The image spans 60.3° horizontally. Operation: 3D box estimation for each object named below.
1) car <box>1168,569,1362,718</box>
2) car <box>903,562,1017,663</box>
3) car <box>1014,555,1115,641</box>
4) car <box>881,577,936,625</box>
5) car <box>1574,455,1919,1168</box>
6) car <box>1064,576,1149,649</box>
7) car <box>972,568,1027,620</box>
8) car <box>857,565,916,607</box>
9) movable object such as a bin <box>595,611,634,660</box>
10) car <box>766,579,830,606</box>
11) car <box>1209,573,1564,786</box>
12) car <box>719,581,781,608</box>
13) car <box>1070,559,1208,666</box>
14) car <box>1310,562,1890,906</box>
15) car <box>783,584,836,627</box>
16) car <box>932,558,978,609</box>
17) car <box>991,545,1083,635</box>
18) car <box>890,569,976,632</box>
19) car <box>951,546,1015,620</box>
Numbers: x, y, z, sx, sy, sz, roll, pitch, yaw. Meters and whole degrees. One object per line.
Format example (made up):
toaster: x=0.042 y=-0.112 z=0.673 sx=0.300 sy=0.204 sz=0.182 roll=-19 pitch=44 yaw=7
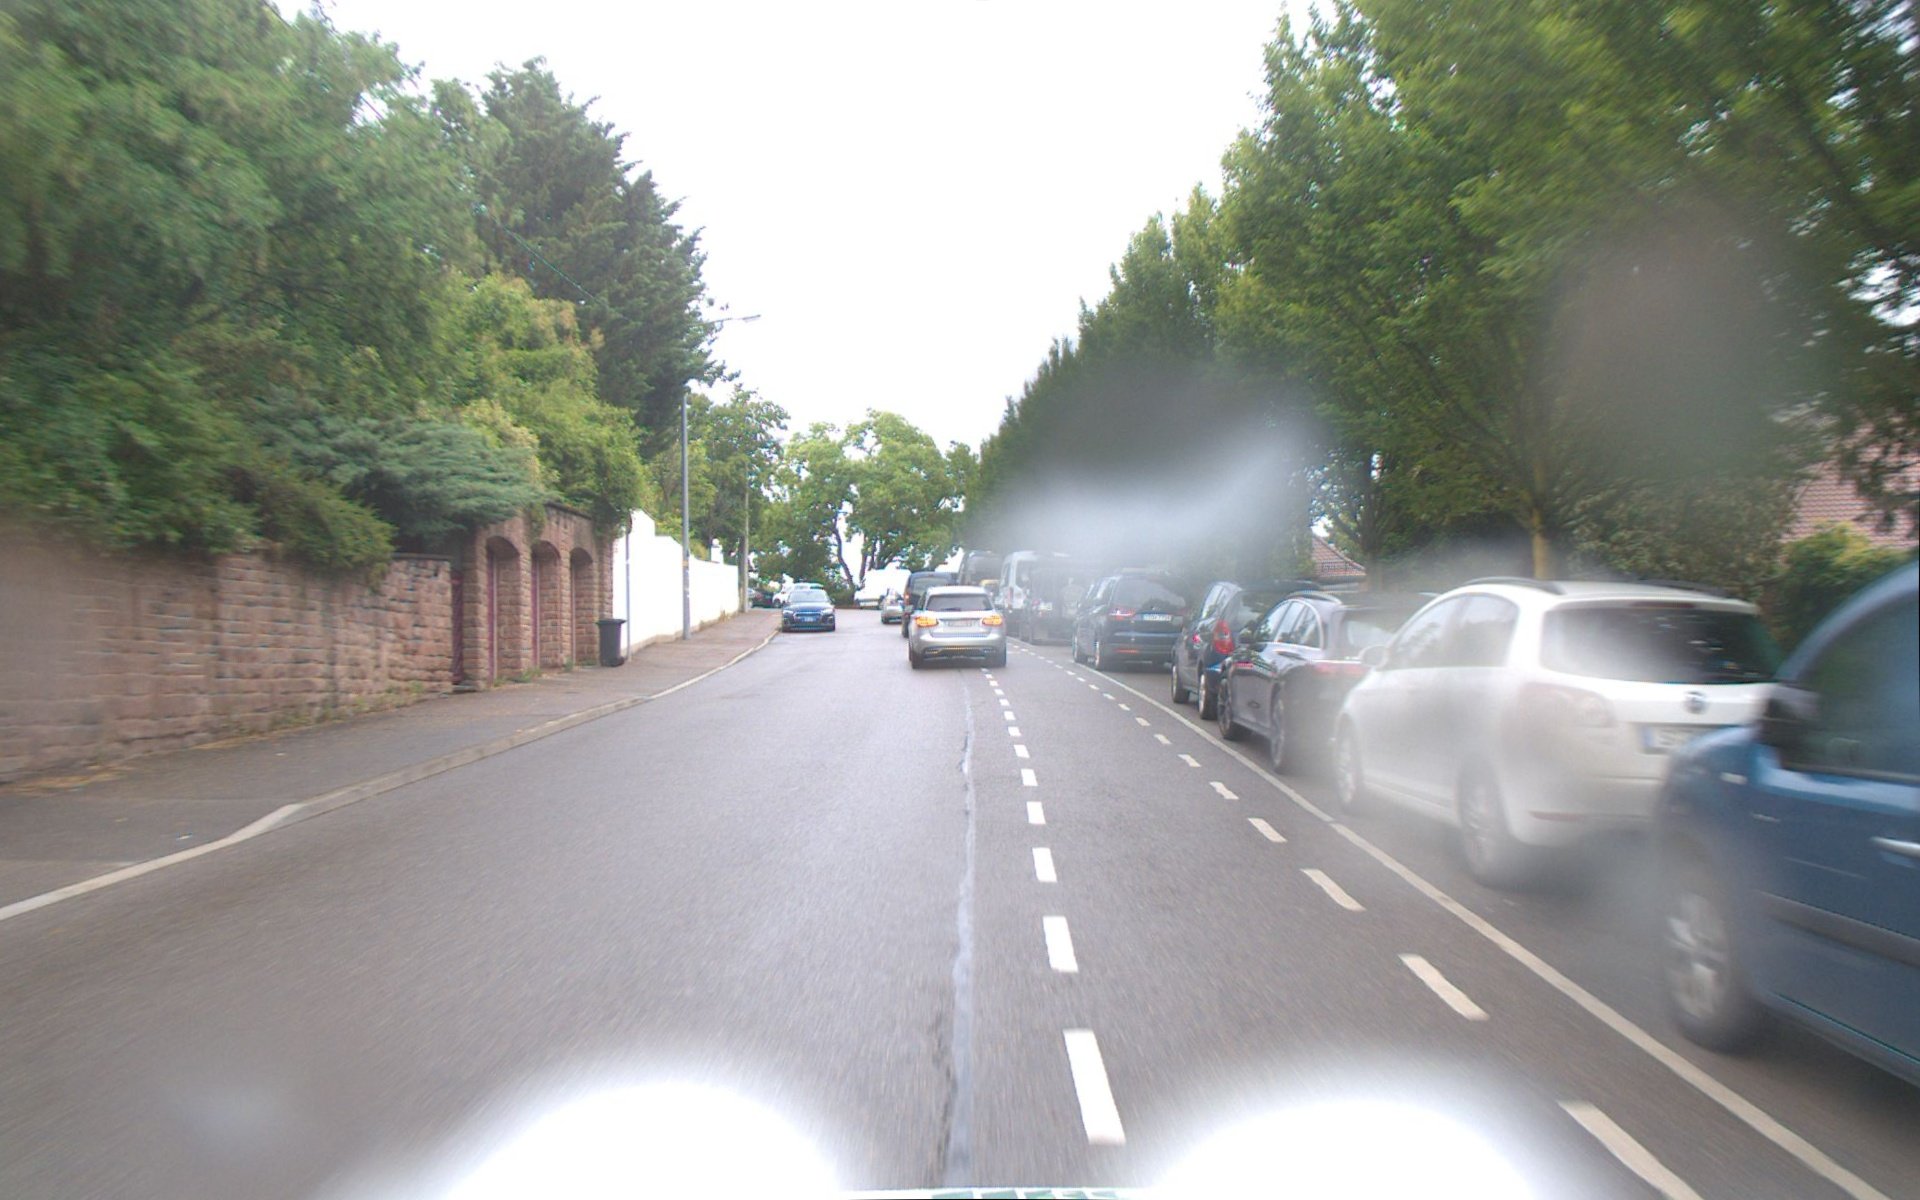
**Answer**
car: x=3.615 y=0.463 z=20.249 sx=1.658 sy=1.598 sz=3.923 roll=1 pitch=0 yaw=0
car: x=-0.040 y=0.189 z=31.429 sx=1.984 sy=1.738 sz=4.215 roll=-1 pitch=1 yaw=-1
car: x=2.692 y=-0.072 z=43.752 sx=1.954 sy=2.088 sz=5.117 roll=2 pitch=0 yaw=-4
car: x=-1.966 y=0.064 z=63.142 sx=1.953 sy=1.738 sz=3.998 roll=2 pitch=-1 yaw=-2
car: x=3.421 y=0.580 z=4.564 sx=1.742 sy=1.884 sz=4.424 roll=2 pitch=1 yaw=0
car: x=3.345 y=0.269 z=38.253 sx=1.564 sy=1.585 sz=2.953 roll=1 pitch=0 yaw=-3
car: x=1.522 y=-0.252 z=64.518 sx=1.693 sy=1.816 sz=4.273 roll=4 pitch=0 yaw=-3
car: x=-4.855 y=-0.963 z=109.319 sx=2.101 sy=2.571 sz=4.455 roll=2 pitch=1 yaw=-28
movable object such as a bin: x=-6.869 y=0.700 z=32.900 sx=0.645 sy=0.935 sz=0.677 roll=1 pitch=0 yaw=-1
car: x=-11.648 y=-0.535 z=118.874 sx=4.409 sy=1.727 sz=1.962 roll=3 pitch=1 yaw=37
car: x=3.608 y=0.586 z=15.000 sx=1.953 sy=1.564 sz=4.850 roll=2 pitch=0 yaw=0
car: x=-15.566 y=-0.400 z=122.324 sx=4.586 sy=1.727 sz=1.959 roll=3 pitch=1 yaw=41
car: x=3.238 y=0.186 z=30.780 sx=1.745 sy=1.814 sz=4.675 roll=1 pitch=1 yaw=-4
car: x=3.561 y=0.631 z=10.142 sx=1.748 sy=1.637 sz=4.222 roll=1 pitch=1 yaw=-3
car: x=-5.159 y=0.159 z=56.967 sx=1.714 sy=1.381 sz=4.421 roll=-1 pitch=1 yaw=-5
car: x=-0.287 y=-0.862 z=86.361 sx=2.023 sy=2.538 sz=4.756 roll=2 pitch=0 yaw=-4
car: x=2.323 y=-0.327 z=51.607 sx=2.130 sy=2.536 sz=6.030 roll=3 pitch=0 yaw=-3
car: x=-0.840 y=0.031 z=48.792 sx=1.957 sy=1.738 sz=3.991 roll=2 pitch=-1 yaw=-9
car: x=0.910 y=-0.711 z=70.579 sx=2.083 sy=2.937 sz=5.764 roll=2 pitch=0 yaw=-5
